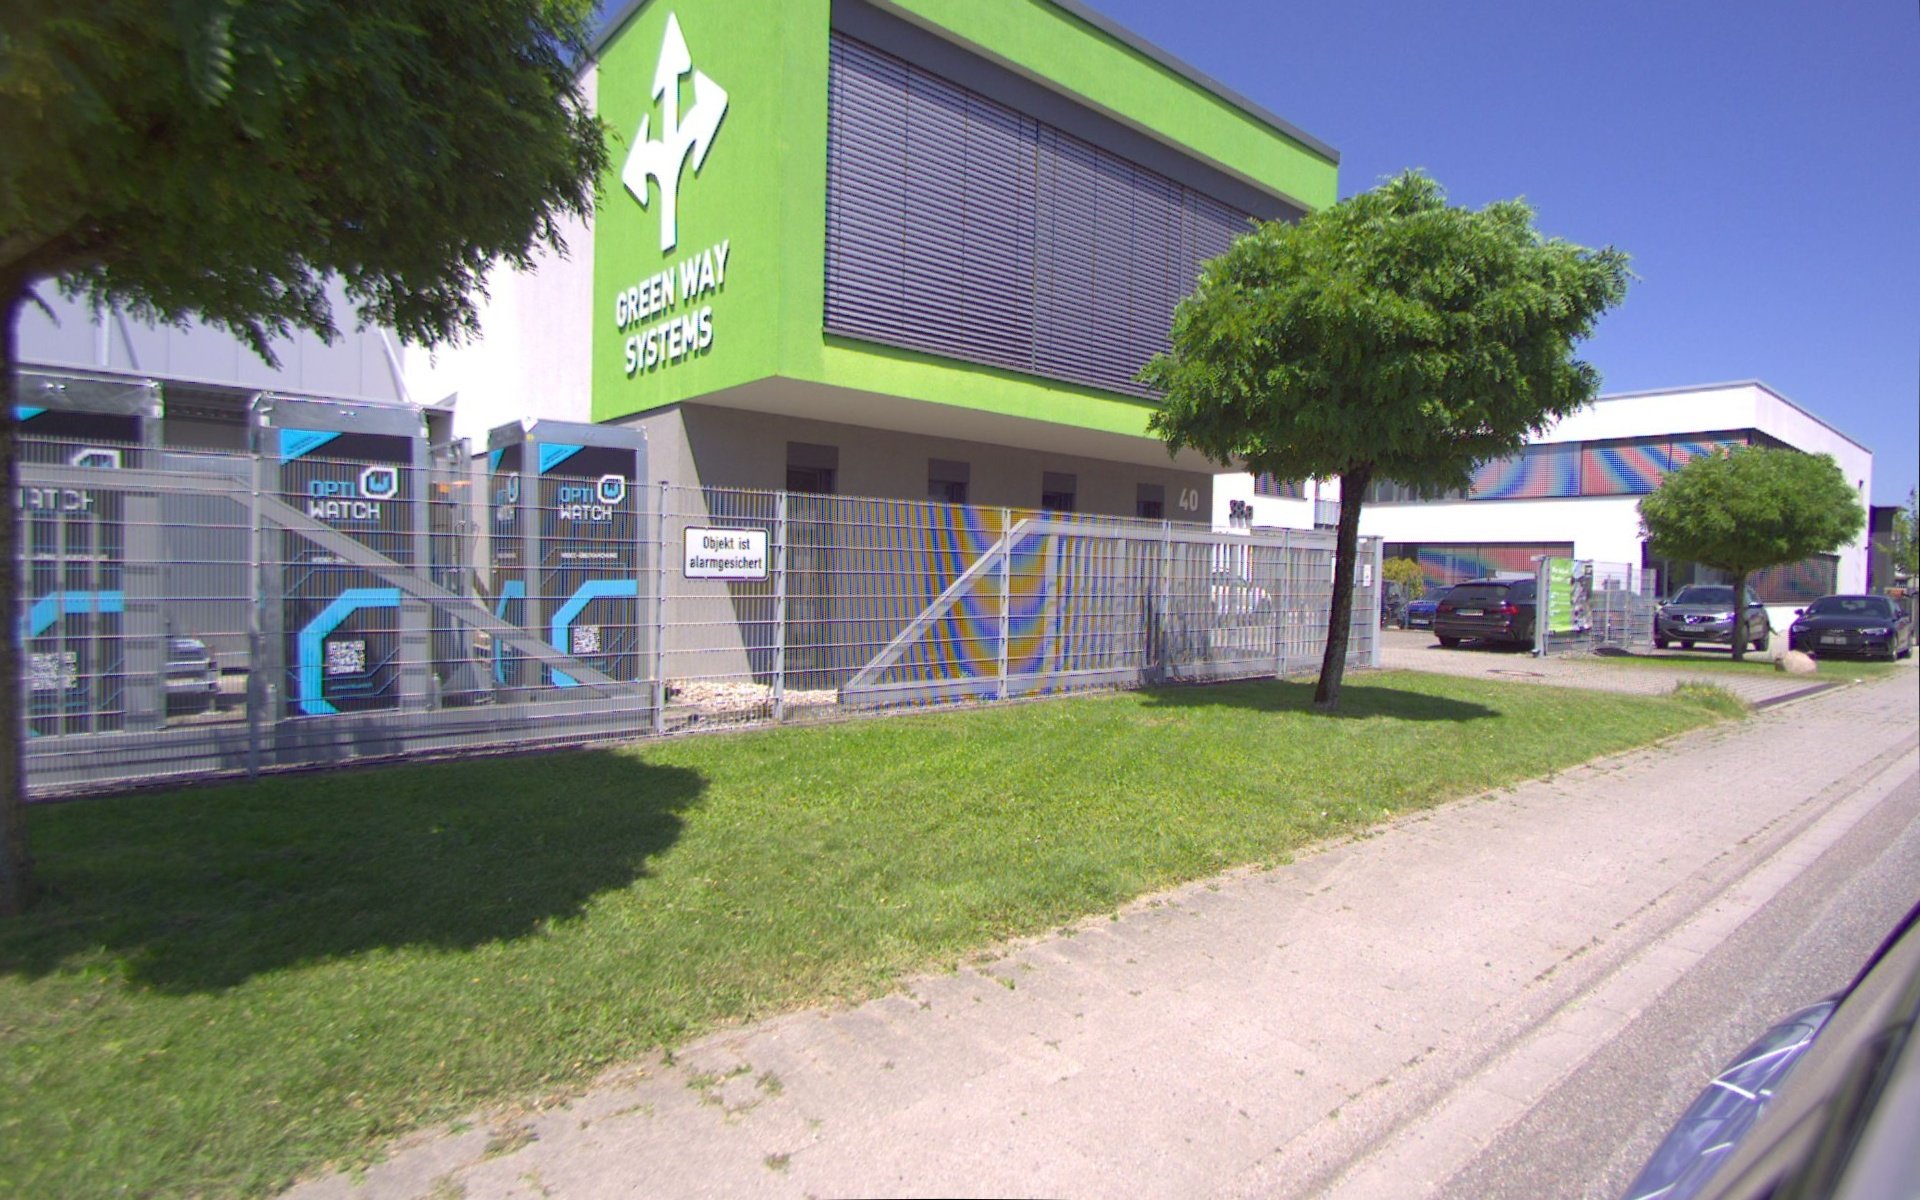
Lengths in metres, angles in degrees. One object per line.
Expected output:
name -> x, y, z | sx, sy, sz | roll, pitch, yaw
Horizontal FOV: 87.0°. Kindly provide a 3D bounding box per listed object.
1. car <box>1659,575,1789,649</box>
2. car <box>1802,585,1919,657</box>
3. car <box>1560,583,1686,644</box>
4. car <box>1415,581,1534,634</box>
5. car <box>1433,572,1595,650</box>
car -> 18.652, 0.252, 24.647 | 3.951, 1.653, 1.726 | 0, 1, -41
car -> 20.170, 0.411, 22.381 | 4.171, 1.446, 1.695 | 0, 1, -41
car -> 17.450, 0.314, 26.587 | 3.951, 1.467, 1.726 | 0, 1, -41
car -> 15.151, 0.181, 29.714 | 3.951, 1.454, 1.726 | 0, 1, -41
car -> 11.824, 0.154, 21.513 | 3.985, 1.415, 1.741 | -3, 3, -41
